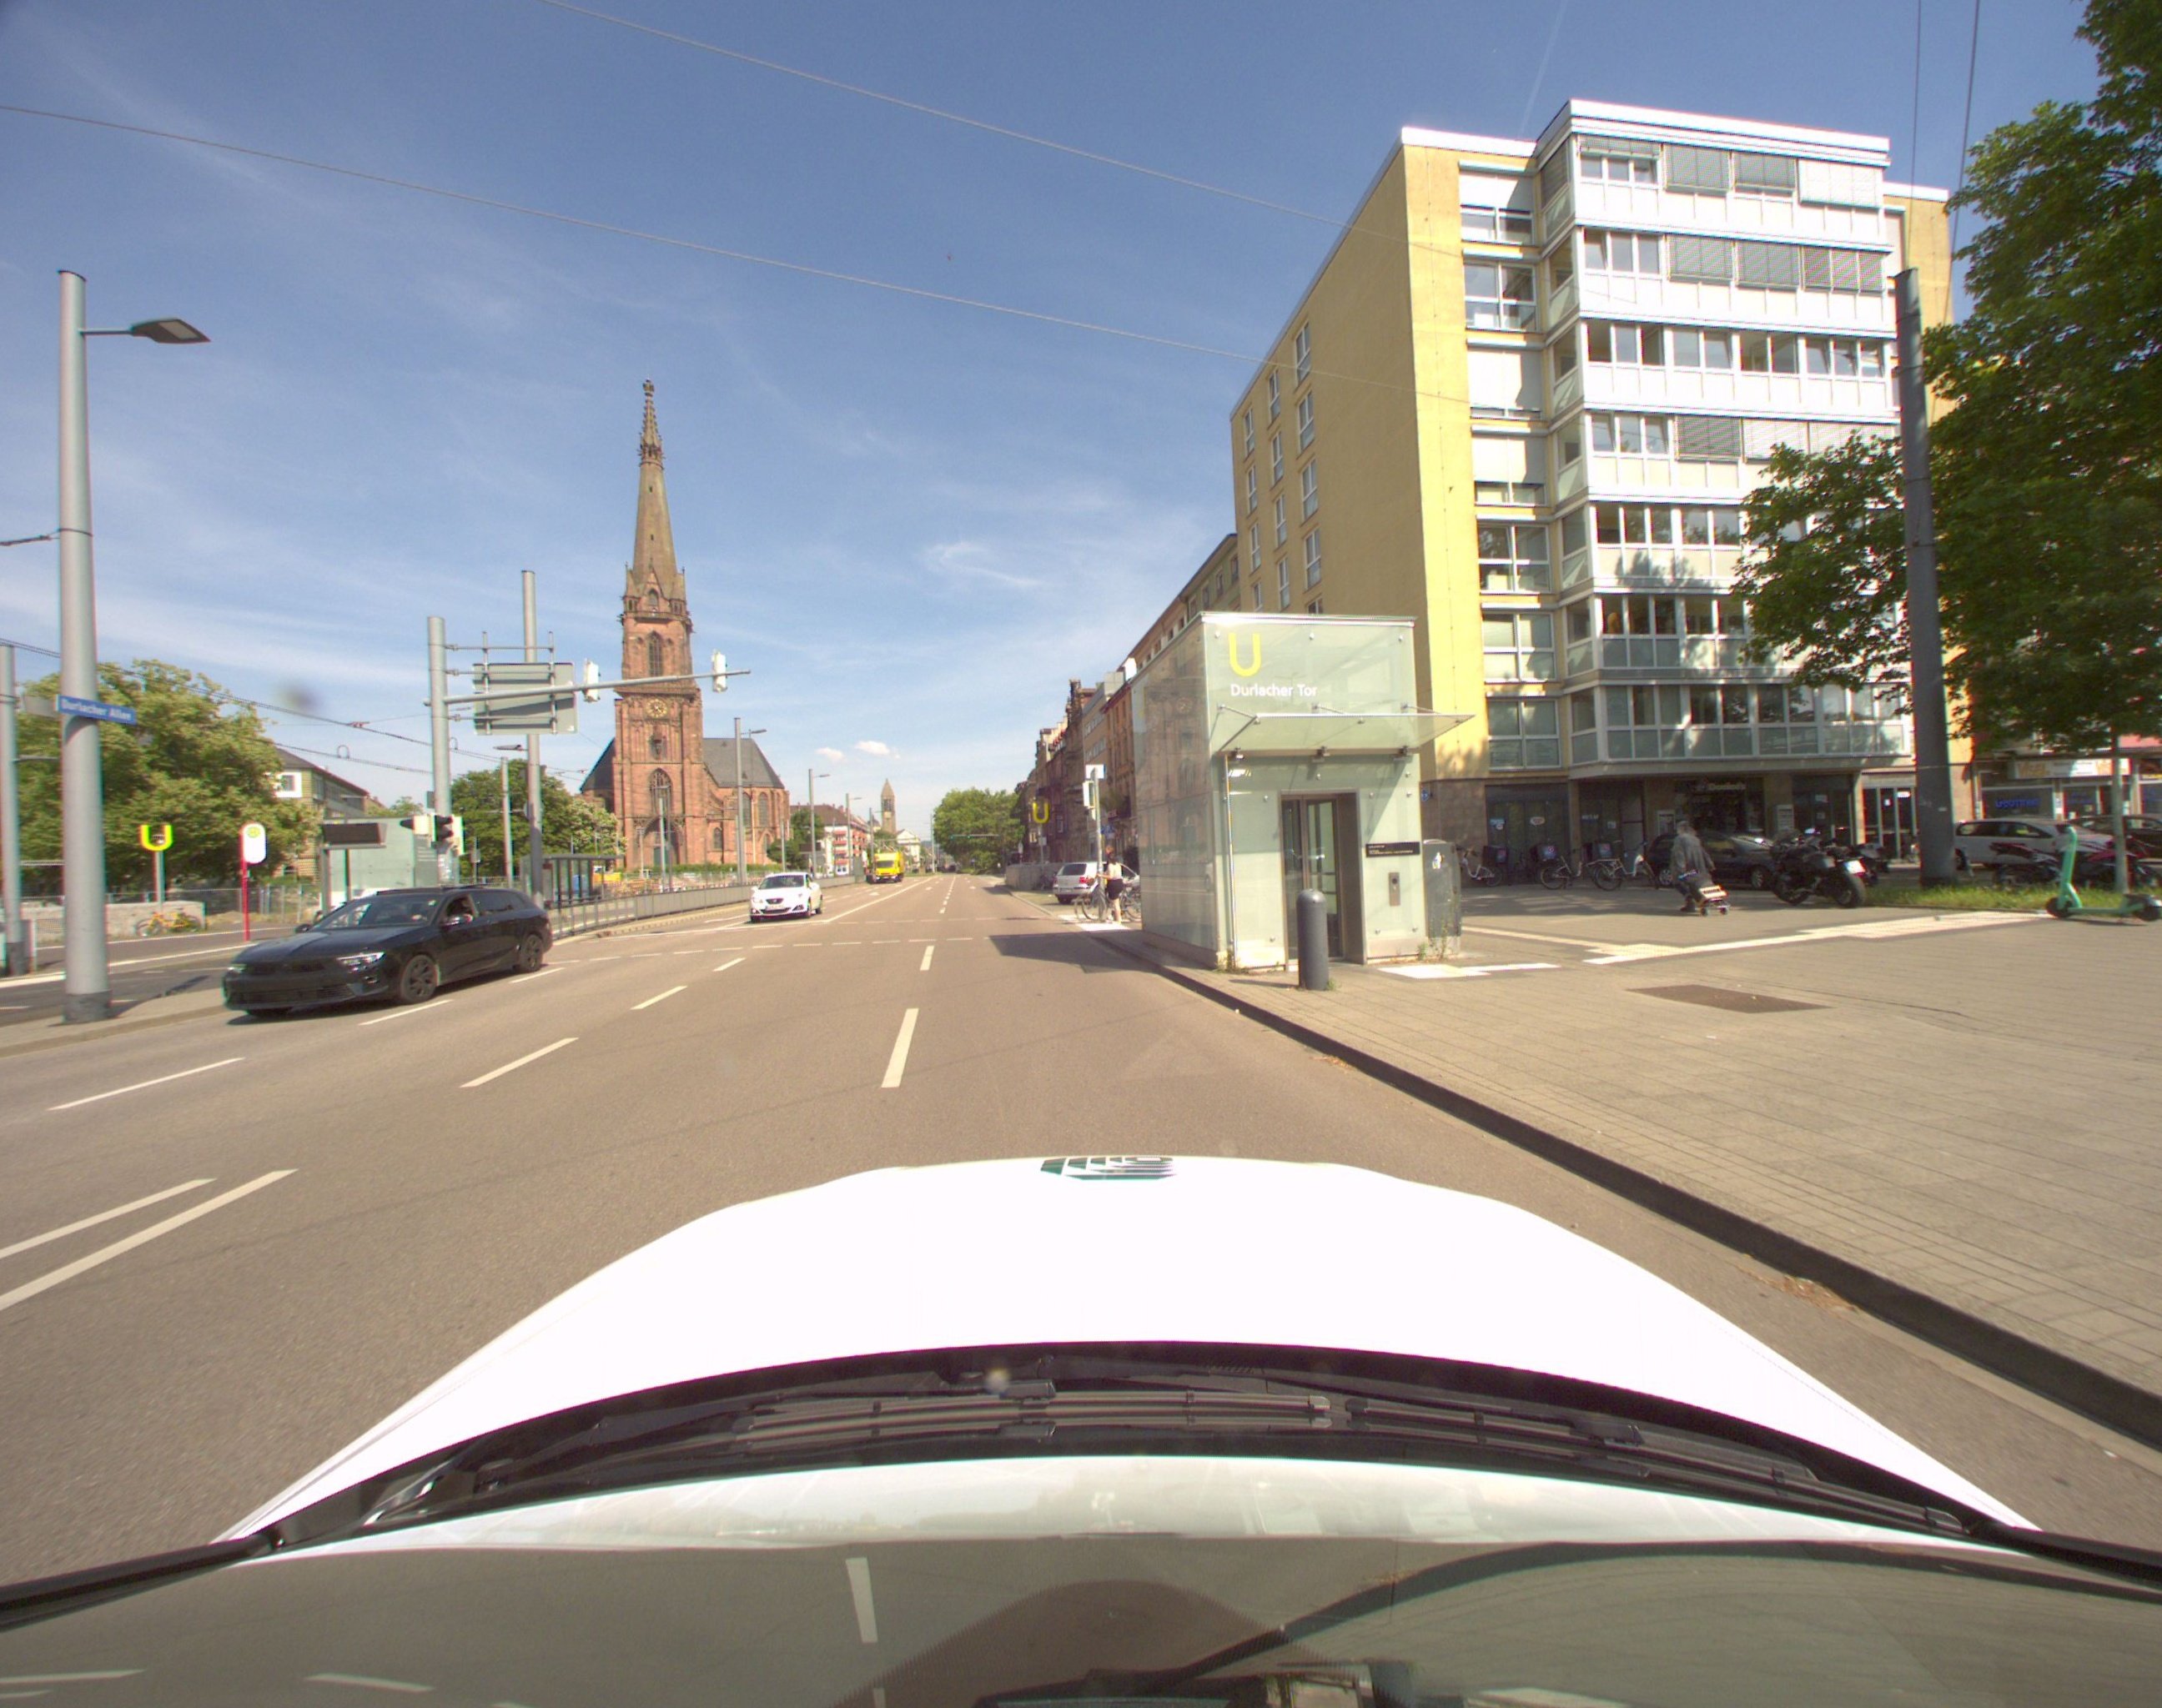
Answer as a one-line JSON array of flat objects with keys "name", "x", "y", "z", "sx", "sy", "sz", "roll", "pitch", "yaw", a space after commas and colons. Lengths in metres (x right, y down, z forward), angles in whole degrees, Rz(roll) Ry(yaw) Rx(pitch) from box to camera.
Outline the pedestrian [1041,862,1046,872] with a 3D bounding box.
[{"name": "pedestrian", "x": -5.091, "y": 1.791, "z": 111.387, "sx": 0.533, "sy": 1.406, "sz": 0.489, "roll": -3, "pitch": 2, "yaw": -15}]

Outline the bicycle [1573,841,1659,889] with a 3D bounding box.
[{"name": "bicycle", "x": 13.663, "y": 0.282, "z": 20.821, "sx": 1.744, "sy": 1.086, "sz": 0.584, "roll": -4, "pitch": -1, "yaw": 1}]

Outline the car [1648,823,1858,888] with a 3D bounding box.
[{"name": "car", "x": 16.761, "y": 0.050, "z": 20.603, "sx": 1.653, "sy": 1.470, "sz": 4.081, "roll": 0, "pitch": -1, "yaw": -8}]

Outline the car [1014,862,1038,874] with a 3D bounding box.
[{"name": "car", "x": -9.499, "y": 2.412, "z": 140.888, "sx": 3.984, "sy": 1.749, "sz": 1.995, "roll": -3, "pitch": 2, "yaw": -8}]

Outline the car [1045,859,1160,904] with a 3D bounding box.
[{"name": "car", "x": 0.793, "y": 0.917, "z": 28.165, "sx": 1.790, "sy": 1.440, "sz": 4.024, "roll": -2, "pitch": -2, "yaw": 42}]

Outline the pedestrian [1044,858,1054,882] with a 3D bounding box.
[{"name": "pedestrian", "x": -2.296, "y": 1.169, "z": 58.274, "sx": 0.552, "sy": 1.665, "sz": 0.524, "roll": -3, "pitch": -1, "yaw": -9}]

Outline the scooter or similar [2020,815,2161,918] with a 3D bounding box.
[{"name": "scooter or similar", "x": 12.034, "y": 0.129, "z": 9.663, "sx": 0.511, "sy": 1.119, "sz": 1.371, "roll": -3, "pitch": 0, "yaw": 18}]

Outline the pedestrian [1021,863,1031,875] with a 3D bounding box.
[{"name": "pedestrian", "x": -5.984, "y": 1.615, "z": 88.786, "sx": 0.947, "sy": 1.325, "sz": 0.819, "roll": -3, "pitch": -1, "yaw": -11}]

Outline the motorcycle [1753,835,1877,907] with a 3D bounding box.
[{"name": "motorcycle", "x": 11.969, "y": 0.250, "z": 13.371, "sx": 0.633, "sy": 1.062, "sz": 2.047, "roll": -3, "pitch": 0, "yaw": 16}]

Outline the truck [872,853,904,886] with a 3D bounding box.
[{"name": "truck", "x": -21.435, "y": 1.679, "z": 90.842, "sx": 2.543, "sy": 3.298, "sz": 8.999, "roll": -5, "pitch": 0, "yaw": -9}]

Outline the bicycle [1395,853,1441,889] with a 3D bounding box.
[{"name": "bicycle", "x": 10.226, "y": 0.508, "z": 24.765, "sx": 0.580, "sy": 1.043, "sz": 1.755, "roll": -4, "pitch": -1, "yaw": -2}]

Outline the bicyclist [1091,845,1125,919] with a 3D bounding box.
[{"name": "bicyclist", "x": 0.640, "y": 0.664, "z": 19.572, "sx": 0.617, "sy": 1.735, "sz": 0.581, "roll": -2, "pitch": -1, "yaw": -15}]

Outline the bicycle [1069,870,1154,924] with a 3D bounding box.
[{"name": "bicycle", "x": 0.691, "y": 0.947, "z": 18.198, "sx": 1.780, "sy": 1.130, "sz": 0.756, "roll": -2, "pitch": -1, "yaw": 8}]

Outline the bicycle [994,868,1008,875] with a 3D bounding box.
[{"name": "bicycle", "x": -11.095, "y": 2.459, "z": 113.192, "sx": 1.827, "sy": 0.863, "sz": 0.479, "roll": -2, "pitch": 2, "yaw": -24}]

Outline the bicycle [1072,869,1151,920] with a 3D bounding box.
[{"name": "bicycle", "x": 0.744, "y": 0.964, "z": 19.722, "sx": 1.794, "sy": 1.130, "sz": 0.581, "roll": -2, "pitch": -1, "yaw": -16}]

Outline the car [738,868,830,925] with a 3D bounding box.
[{"name": "car", "x": -9.031, "y": 1.236, "z": 25.122, "sx": 1.754, "sy": 1.398, "sz": 4.112, "roll": -6, "pitch": 0, "yaw": -9}]

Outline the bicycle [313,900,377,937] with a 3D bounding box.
[{"name": "bicycle", "x": -25.104, "y": 2.187, "z": 27.818, "sx": 0.410, "sy": 1.070, "sz": 1.669, "roll": -3, "pitch": 1, "yaw": 10}]

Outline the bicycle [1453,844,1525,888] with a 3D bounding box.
[{"name": "bicycle", "x": 12.034, "y": 0.341, "z": 24.055, "sx": 1.882, "sy": 1.186, "sz": 0.540, "roll": -3, "pitch": 0, "yaw": -7}]

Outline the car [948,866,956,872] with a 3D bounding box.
[{"name": "car", "x": -33.894, "y": 3.976, "z": 214.235, "sx": 1.900, "sy": 1.376, "sz": 3.800, "roll": -3, "pitch": 0, "yaw": -11}]

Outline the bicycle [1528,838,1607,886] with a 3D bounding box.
[{"name": "bicycle", "x": 13.138, "y": 0.220, "z": 22.022, "sx": 1.744, "sy": 1.219, "sz": 0.584, "roll": -3, "pitch": -1, "yaw": 1}]

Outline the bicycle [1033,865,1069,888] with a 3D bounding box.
[{"name": "bicycle", "x": -1.522, "y": 1.151, "z": 41.720, "sx": 1.742, "sy": 1.094, "sz": 0.595, "roll": -3, "pitch": 0, "yaw": -9}]

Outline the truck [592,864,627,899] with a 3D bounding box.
[{"name": "truck", "x": -51.504, "y": 2.978, "z": 88.841, "sx": 3.039, "sy": 3.569, "sz": 5.982, "roll": -2, "pitch": -1, "yaw": -31}]

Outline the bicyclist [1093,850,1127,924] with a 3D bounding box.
[{"name": "bicyclist", "x": 0.650, "y": 0.723, "z": 17.904, "sx": 0.607, "sy": 1.572, "sz": 0.735, "roll": -2, "pitch": -1, "yaw": 9}]

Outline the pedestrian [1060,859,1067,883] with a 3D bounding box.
[{"name": "pedestrian", "x": -1.257, "y": 1.194, "z": 58.280, "sx": 0.371, "sy": 1.665, "sz": 0.524, "roll": -3, "pitch": -1, "yaw": -9}]

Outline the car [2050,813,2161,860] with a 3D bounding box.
[{"name": "car", "x": 30.988, "y": -0.517, "z": 23.259, "sx": 1.737, "sy": 1.270, "sz": 3.990, "roll": -3, "pitch": 2, "yaw": -8}]

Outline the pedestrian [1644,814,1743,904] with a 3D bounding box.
[{"name": "pedestrian", "x": 10.022, "y": 0.112, "z": 13.373, "sx": 0.655, "sy": 1.404, "sz": 1.112, "roll": 2, "pitch": -4, "yaw": -11}]

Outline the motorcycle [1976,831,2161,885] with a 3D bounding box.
[{"name": "motorcycle", "x": 16.965, "y": 0.088, "z": 14.023, "sx": 2.012, "sy": 0.842, "sz": 0.644, "roll": -3, "pitch": 0, "yaw": 42}]

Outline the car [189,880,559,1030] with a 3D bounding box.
[{"name": "car", "x": -9.379, "y": 1.194, "z": 11.409, "sx": 1.754, "sy": 1.456, "sz": 4.409, "roll": -3, "pitch": 0, "yaw": -9}]

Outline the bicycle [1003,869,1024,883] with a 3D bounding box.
[{"name": "bicycle", "x": -5.056, "y": 1.627, "z": 60.975, "sx": 1.460, "sy": 0.976, "sz": 0.414, "roll": -3, "pitch": 2, "yaw": -10}]

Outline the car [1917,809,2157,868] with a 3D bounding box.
[{"name": "car", "x": 26.500, "y": -0.450, "z": 22.804, "sx": 1.884, "sy": 1.439, "sz": 3.990, "roll": -3, "pitch": 2, "yaw": -8}]

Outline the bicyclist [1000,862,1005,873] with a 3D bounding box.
[{"name": "bicyclist", "x": -10.918, "y": 1.870, "z": 113.263, "sx": 0.642, "sy": 1.591, "sz": 0.479, "roll": -2, "pitch": 1, "yaw": -24}]
